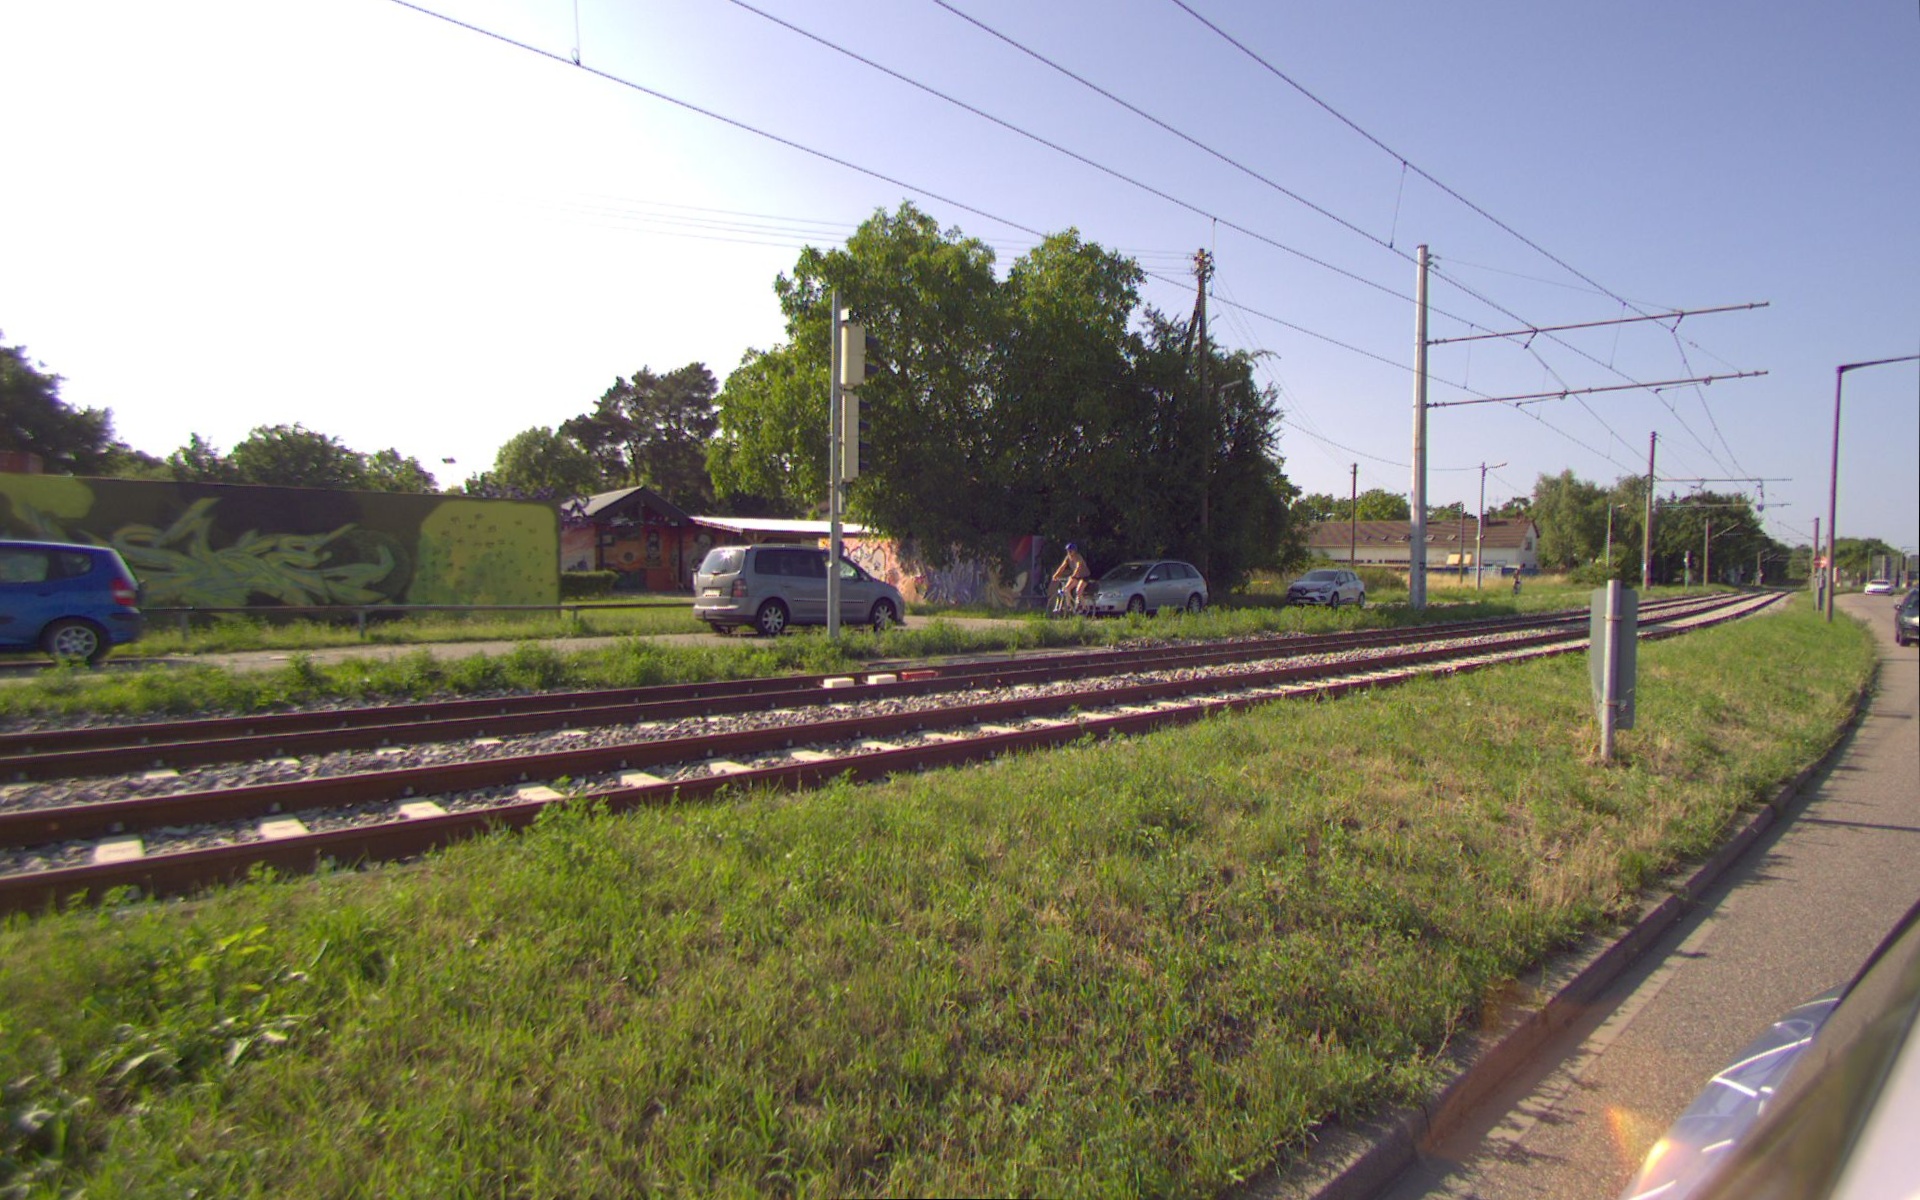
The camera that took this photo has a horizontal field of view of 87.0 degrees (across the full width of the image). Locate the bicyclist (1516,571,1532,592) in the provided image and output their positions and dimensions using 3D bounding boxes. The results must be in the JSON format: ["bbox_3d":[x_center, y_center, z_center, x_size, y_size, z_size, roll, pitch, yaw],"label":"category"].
[{"bbox_3d":[33.457,-1.116,60.024,0.639,1.248,0.779,1,1,44],"label":"bicyclist"}]

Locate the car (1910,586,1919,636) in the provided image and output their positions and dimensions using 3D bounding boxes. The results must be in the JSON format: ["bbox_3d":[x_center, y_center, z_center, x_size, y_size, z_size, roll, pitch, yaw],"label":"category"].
[{"bbox_3d":[28.223,0.273,28.660,1.843,1.372,4.087,0,0,45],"label":"car"}]

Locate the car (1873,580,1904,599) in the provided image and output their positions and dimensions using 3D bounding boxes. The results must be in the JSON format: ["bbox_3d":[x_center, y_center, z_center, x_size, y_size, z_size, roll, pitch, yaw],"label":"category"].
[{"bbox_3d":[84.247,-0.999,91.834,1.963,1.639,4.242,2,2,43],"label":"car"}]

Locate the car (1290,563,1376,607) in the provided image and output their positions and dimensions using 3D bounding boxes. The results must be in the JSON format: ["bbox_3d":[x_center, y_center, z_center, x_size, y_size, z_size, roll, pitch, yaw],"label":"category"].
[{"bbox_3d":[13.584,-0.552,36.745,1.533,1.466,4.069,3,3,42],"label":"car"}]

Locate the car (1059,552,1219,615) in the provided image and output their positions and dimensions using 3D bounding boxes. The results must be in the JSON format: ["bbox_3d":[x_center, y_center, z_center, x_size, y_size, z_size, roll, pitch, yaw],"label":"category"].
[{"bbox_3d":[5.026,-0.469,28.103,4.646,1.610,1.910,0,3,-42],"label":"car"}]

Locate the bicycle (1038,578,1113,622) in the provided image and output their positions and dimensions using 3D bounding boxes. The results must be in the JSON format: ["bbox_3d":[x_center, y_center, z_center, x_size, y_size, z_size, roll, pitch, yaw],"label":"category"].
[{"bbox_3d":[2.555,-0.019,22.276,1.813,0.921,0.643,-1,1,-44],"label":"bicycle"}]

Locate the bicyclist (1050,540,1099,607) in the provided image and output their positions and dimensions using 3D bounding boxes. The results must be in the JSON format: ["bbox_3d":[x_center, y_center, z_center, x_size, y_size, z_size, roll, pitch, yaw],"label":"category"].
[{"bbox_3d":[2.518,-0.571,22.232,0.946,1.440,0.630,-1,1,-44],"label":"bicyclist"}]

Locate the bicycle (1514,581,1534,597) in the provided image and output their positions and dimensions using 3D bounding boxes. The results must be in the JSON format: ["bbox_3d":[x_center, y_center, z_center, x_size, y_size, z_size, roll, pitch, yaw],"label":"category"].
[{"bbox_3d":[33.438,-0.653,60.007,0.643,0.921,1.785,1,1,44],"label":"bicycle"}]

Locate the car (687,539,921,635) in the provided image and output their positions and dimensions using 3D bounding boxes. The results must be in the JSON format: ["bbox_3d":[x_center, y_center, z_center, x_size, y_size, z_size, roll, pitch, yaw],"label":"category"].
[{"bbox_3d":[-2.857,-0.273,19.331,1.522,1.630,4.414,3,3,43],"label":"car"}]

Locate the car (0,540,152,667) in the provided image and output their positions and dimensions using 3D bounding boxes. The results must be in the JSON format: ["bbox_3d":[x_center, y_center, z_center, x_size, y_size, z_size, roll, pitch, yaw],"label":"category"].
[{"bbox_3d":[-11.980,0.040,11.891,3.839,1.448,1.682,0,0,-38],"label":"car"}]
